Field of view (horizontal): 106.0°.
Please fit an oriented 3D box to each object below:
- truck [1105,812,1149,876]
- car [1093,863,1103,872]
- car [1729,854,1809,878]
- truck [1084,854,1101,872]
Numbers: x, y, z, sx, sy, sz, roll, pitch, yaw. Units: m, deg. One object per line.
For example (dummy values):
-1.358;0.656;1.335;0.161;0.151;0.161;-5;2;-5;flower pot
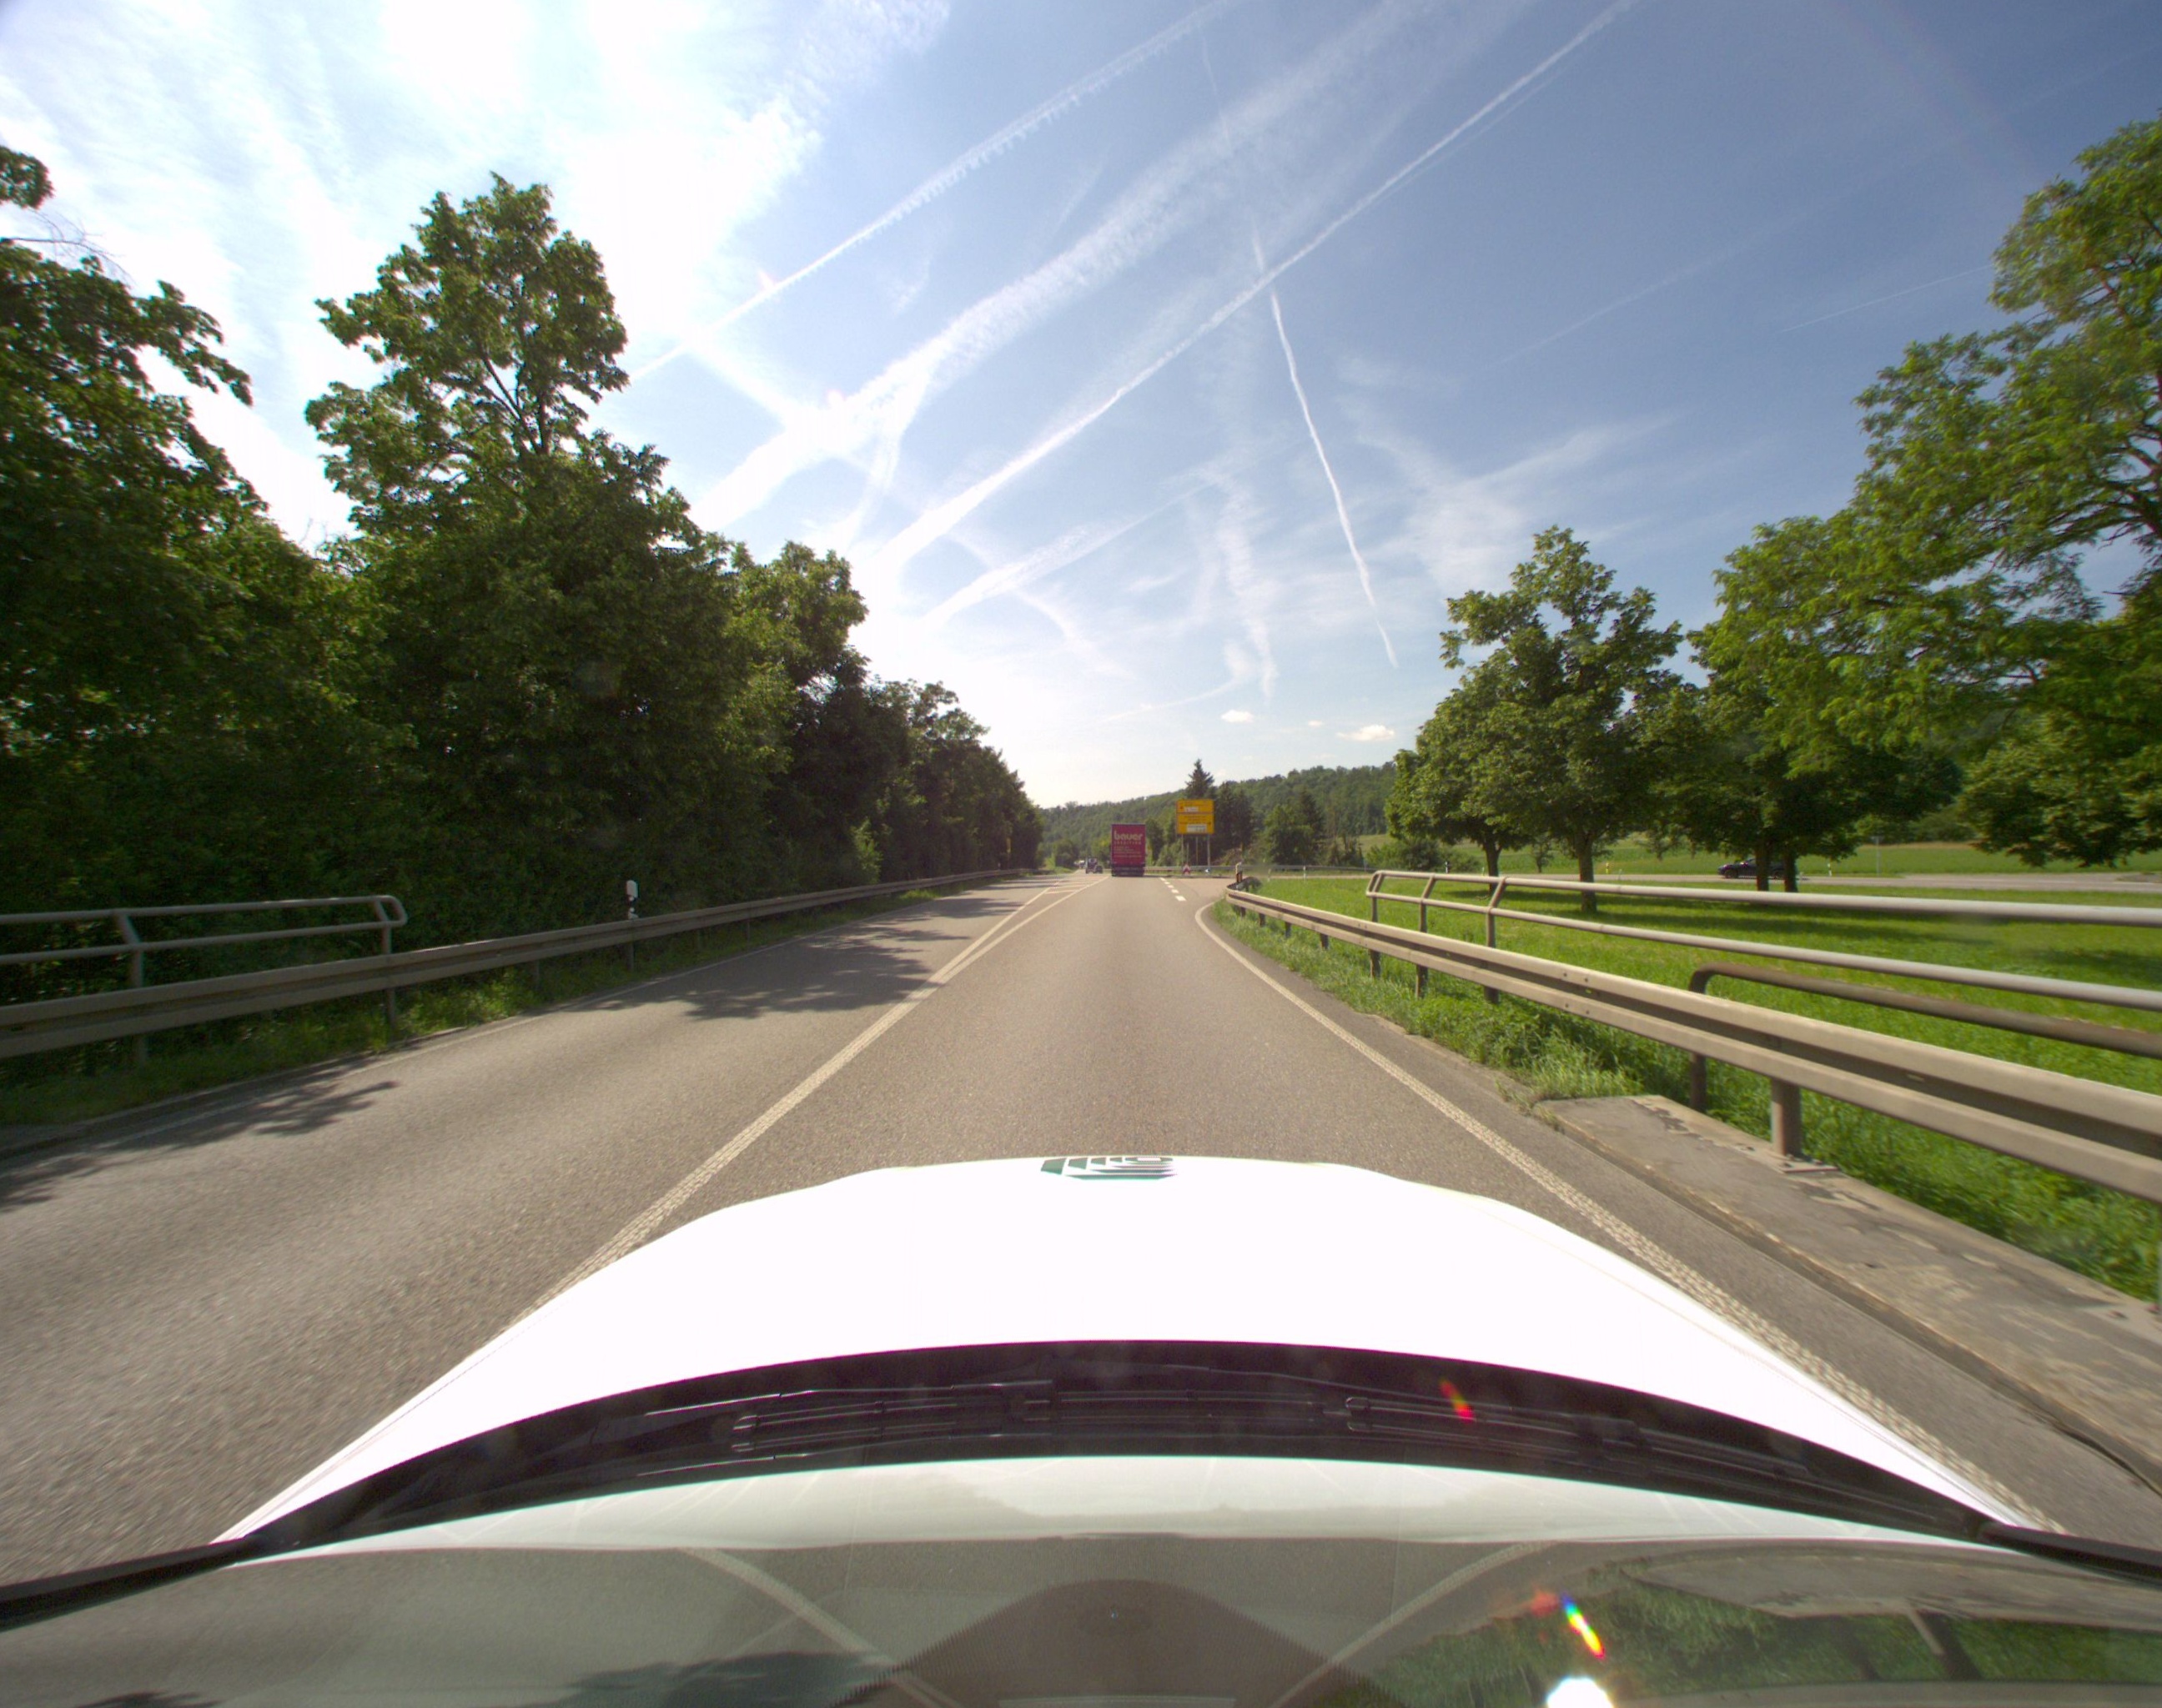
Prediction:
3.590;-0.687;66.601;3.160;4.625;13.548;1;0;2;truck
3.849;3.003;182.391;1.988;1.810;3.997;2;-2;-1;car
50.967;0.859;60.372;2.076;1.589;4.375;-2;2;-44;car
2.937;2.406;213.544;3.893;4.370;13.286;2;-2;0;truck
